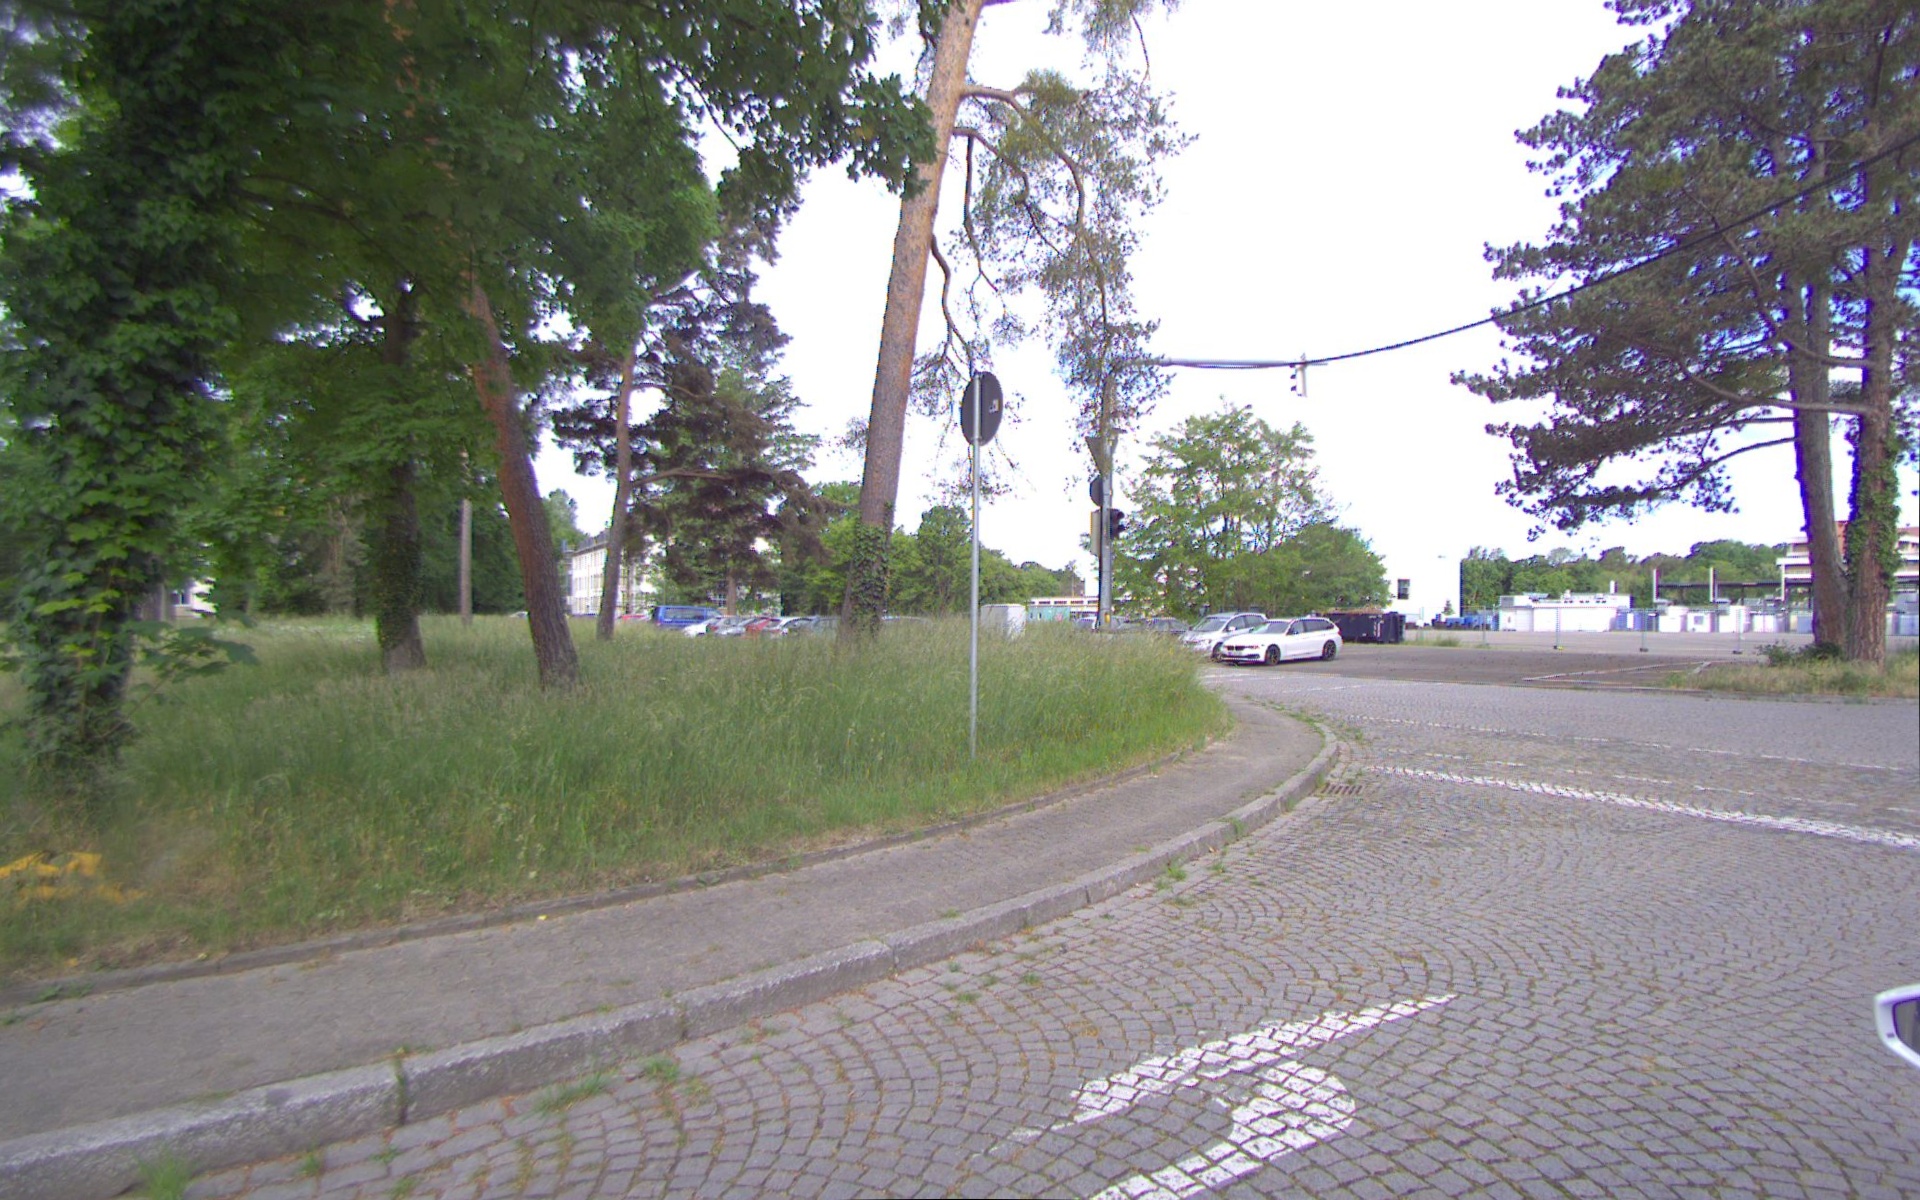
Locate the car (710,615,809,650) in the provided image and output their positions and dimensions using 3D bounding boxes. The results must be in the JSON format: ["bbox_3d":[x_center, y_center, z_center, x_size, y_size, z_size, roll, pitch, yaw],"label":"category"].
[{"bbox_3d":[-8.759,1.403,43.964,3.952,1.457,1.678,1,-1,-30],"label":"car"}]

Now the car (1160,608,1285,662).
[{"bbox_3d":[9.119,1.160,34.762,4.281,1.605,1.810,-2,1,-34],"label":"car"}]

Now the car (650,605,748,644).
[{"bbox_3d":[-13.915,1.273,53.609,4.737,2.007,1.982,0,0,-30],"label":"car"}]

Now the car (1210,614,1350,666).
[{"bbox_3d":[10.436,1.248,32.651,4.689,1.461,1.799,-2,1,-34],"label":"car"}]

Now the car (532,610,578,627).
[{"bbox_3d":[-50.764,2.323,125.900,5.104,2.040,1.983,1,-1,-31],"label":"car"}]

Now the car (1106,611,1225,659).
[{"bbox_3d":[7.603,1.257,37.066,4.281,1.522,1.843,-2,1,-34],"label":"car"}]

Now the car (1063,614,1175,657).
[{"bbox_3d":[6.261,1.364,39.380,4.281,1.587,1.782,1,-1,-34],"label":"car"}]
